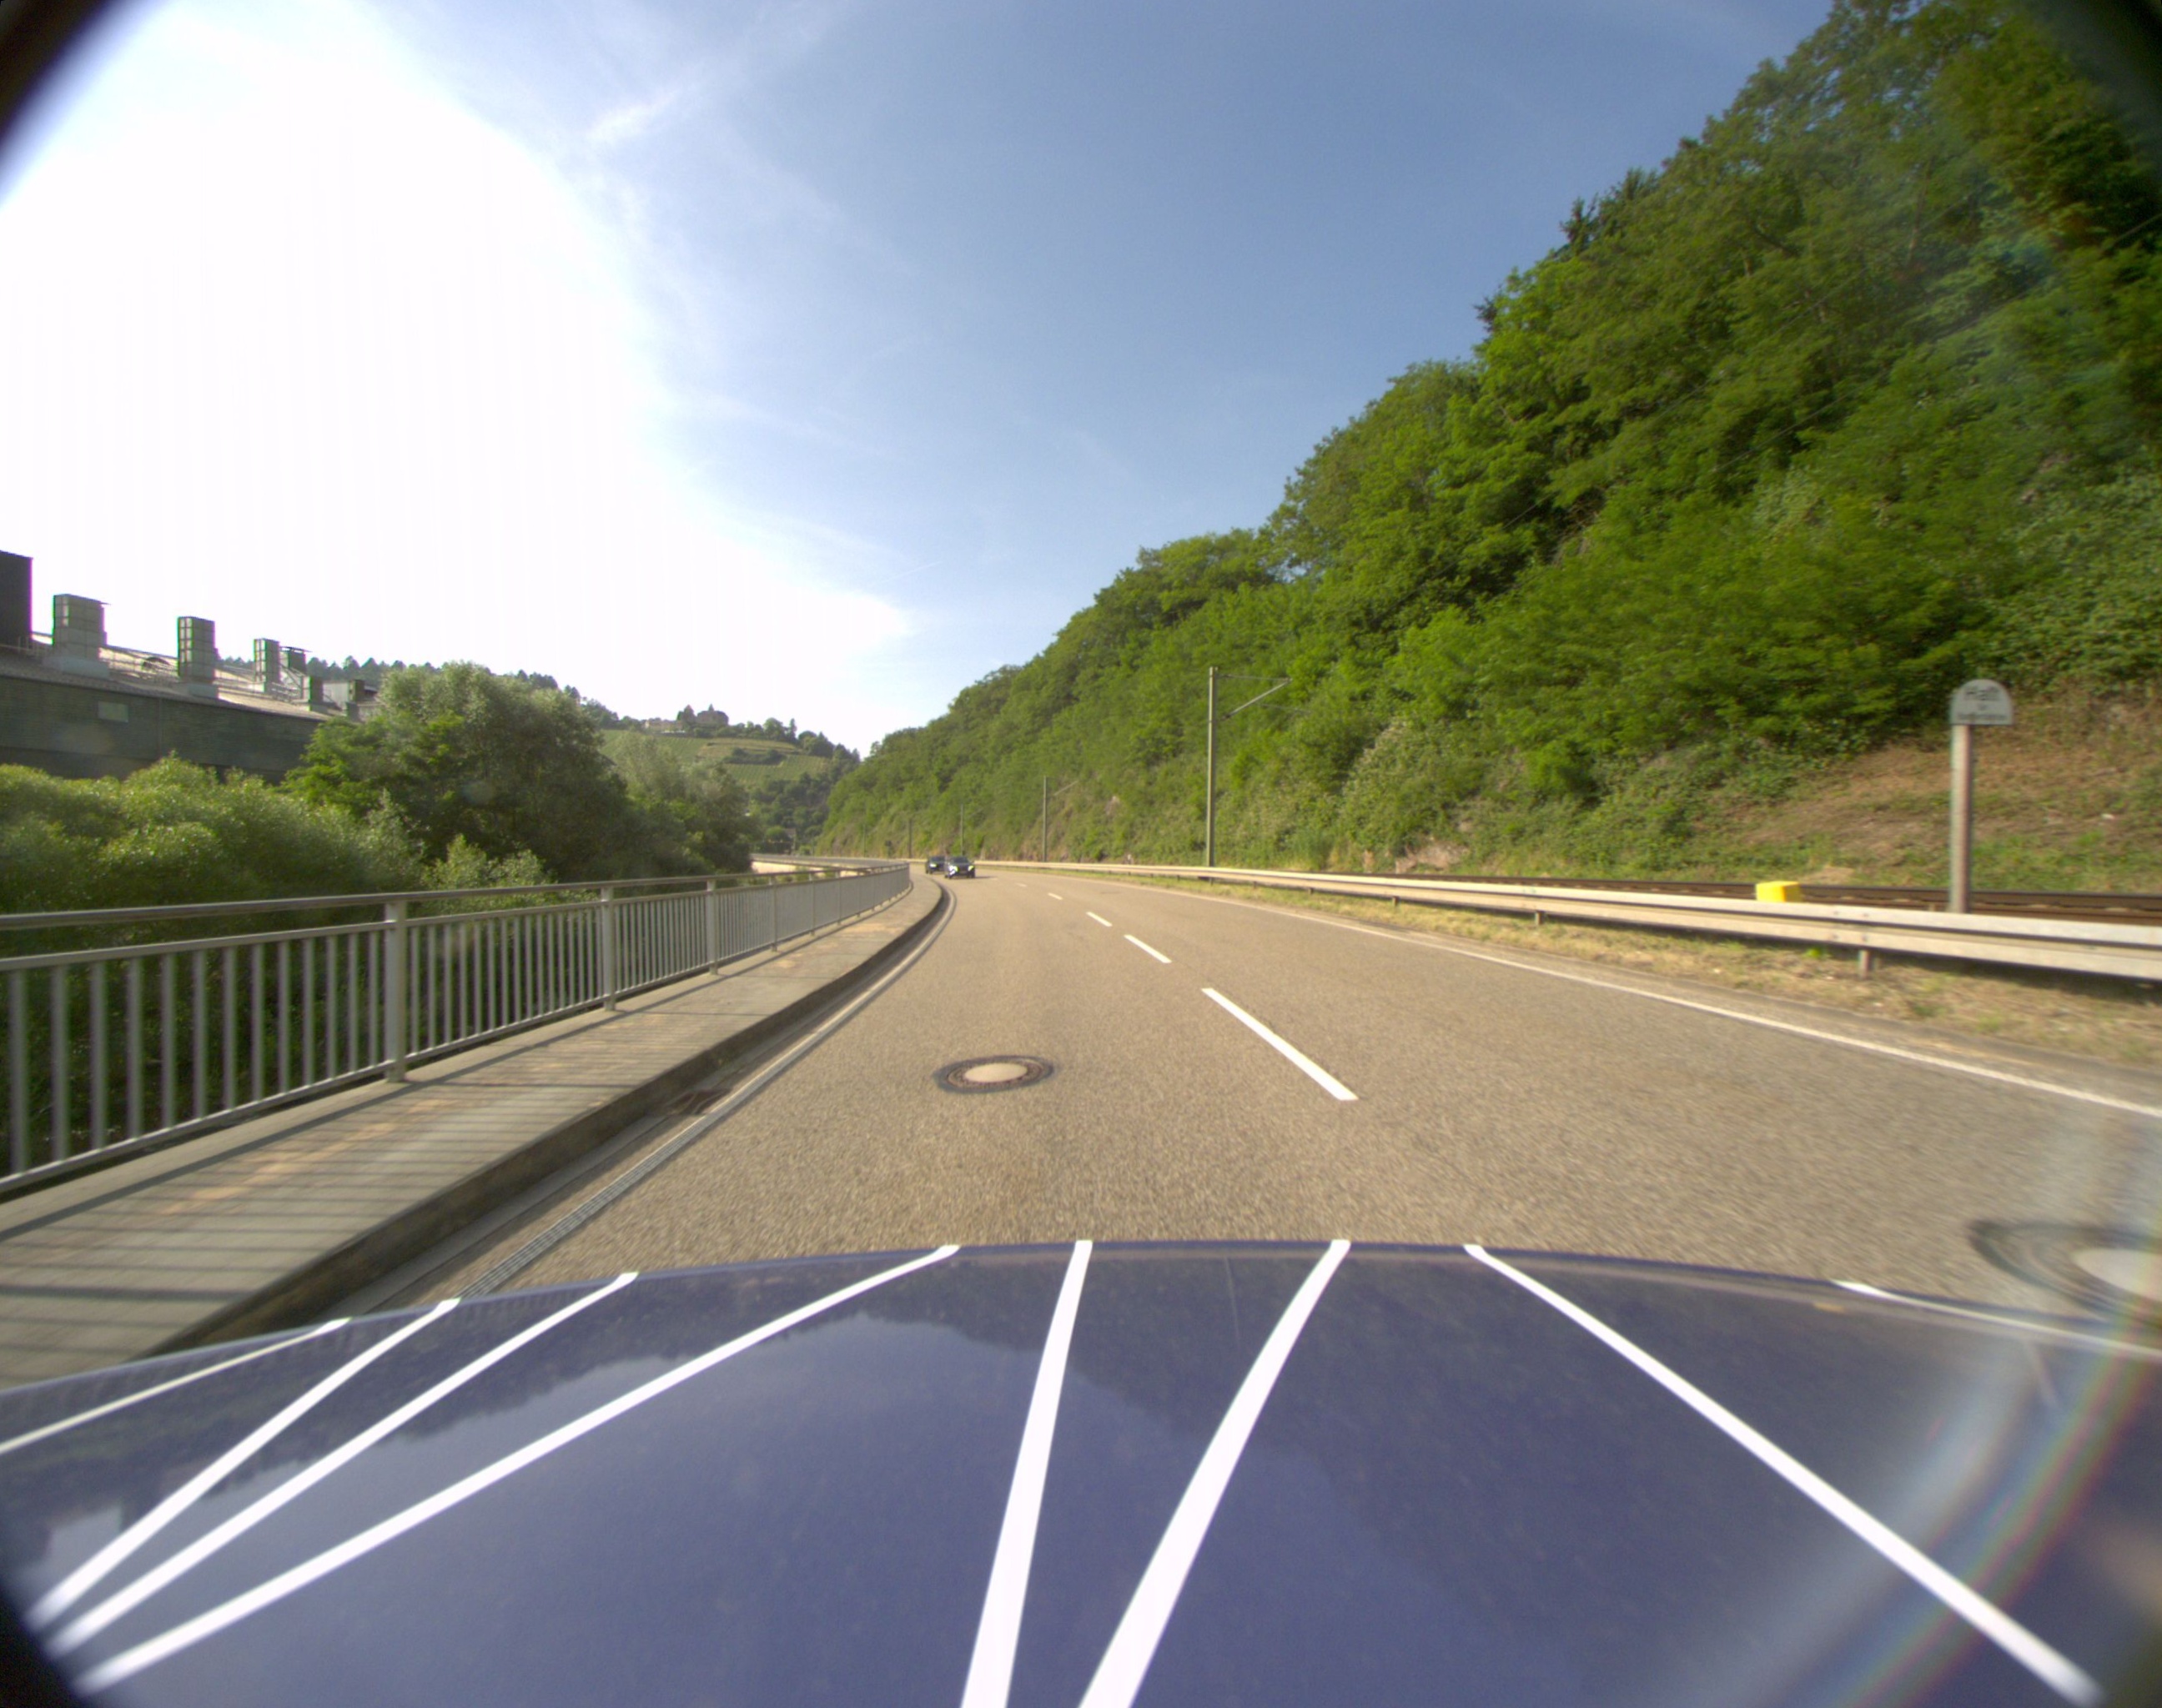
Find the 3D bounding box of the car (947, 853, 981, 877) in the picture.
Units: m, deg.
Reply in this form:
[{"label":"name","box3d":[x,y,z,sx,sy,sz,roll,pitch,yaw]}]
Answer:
[{"label":"car","box3d":[-8.493,0.744,54.919,1.866,1.576,3.994,-1,1,-16]}]

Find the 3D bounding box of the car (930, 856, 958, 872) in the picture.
[{"label":"car","box3d":[-12.440,0.924,68.928,2.002,1.384,3.994,3,-2,-17]}]
